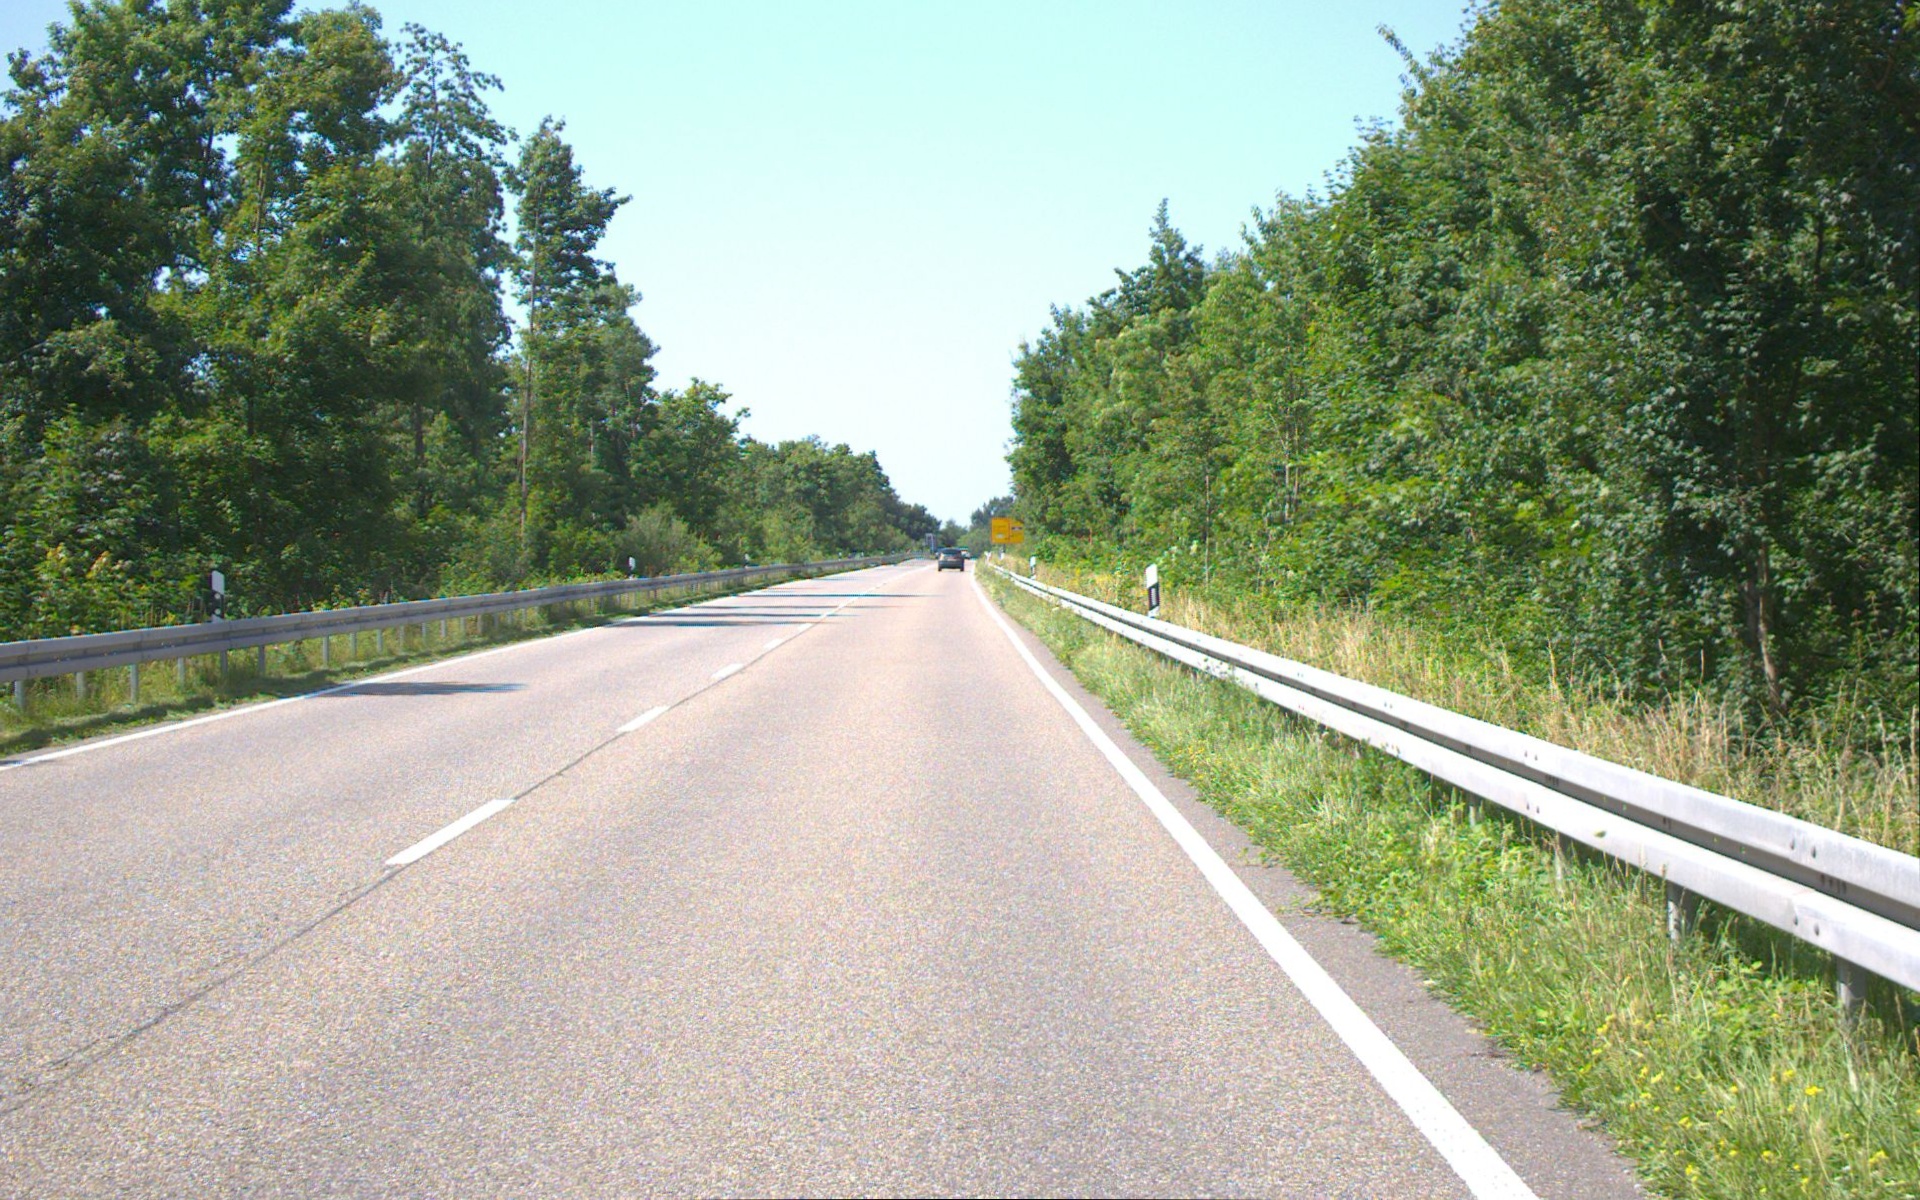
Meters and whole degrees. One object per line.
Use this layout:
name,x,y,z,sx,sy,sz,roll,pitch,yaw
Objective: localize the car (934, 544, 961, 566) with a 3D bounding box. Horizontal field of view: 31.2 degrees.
car,-0.849,-3.034,232.486,1.741,1.465,3.692,0,1,2
